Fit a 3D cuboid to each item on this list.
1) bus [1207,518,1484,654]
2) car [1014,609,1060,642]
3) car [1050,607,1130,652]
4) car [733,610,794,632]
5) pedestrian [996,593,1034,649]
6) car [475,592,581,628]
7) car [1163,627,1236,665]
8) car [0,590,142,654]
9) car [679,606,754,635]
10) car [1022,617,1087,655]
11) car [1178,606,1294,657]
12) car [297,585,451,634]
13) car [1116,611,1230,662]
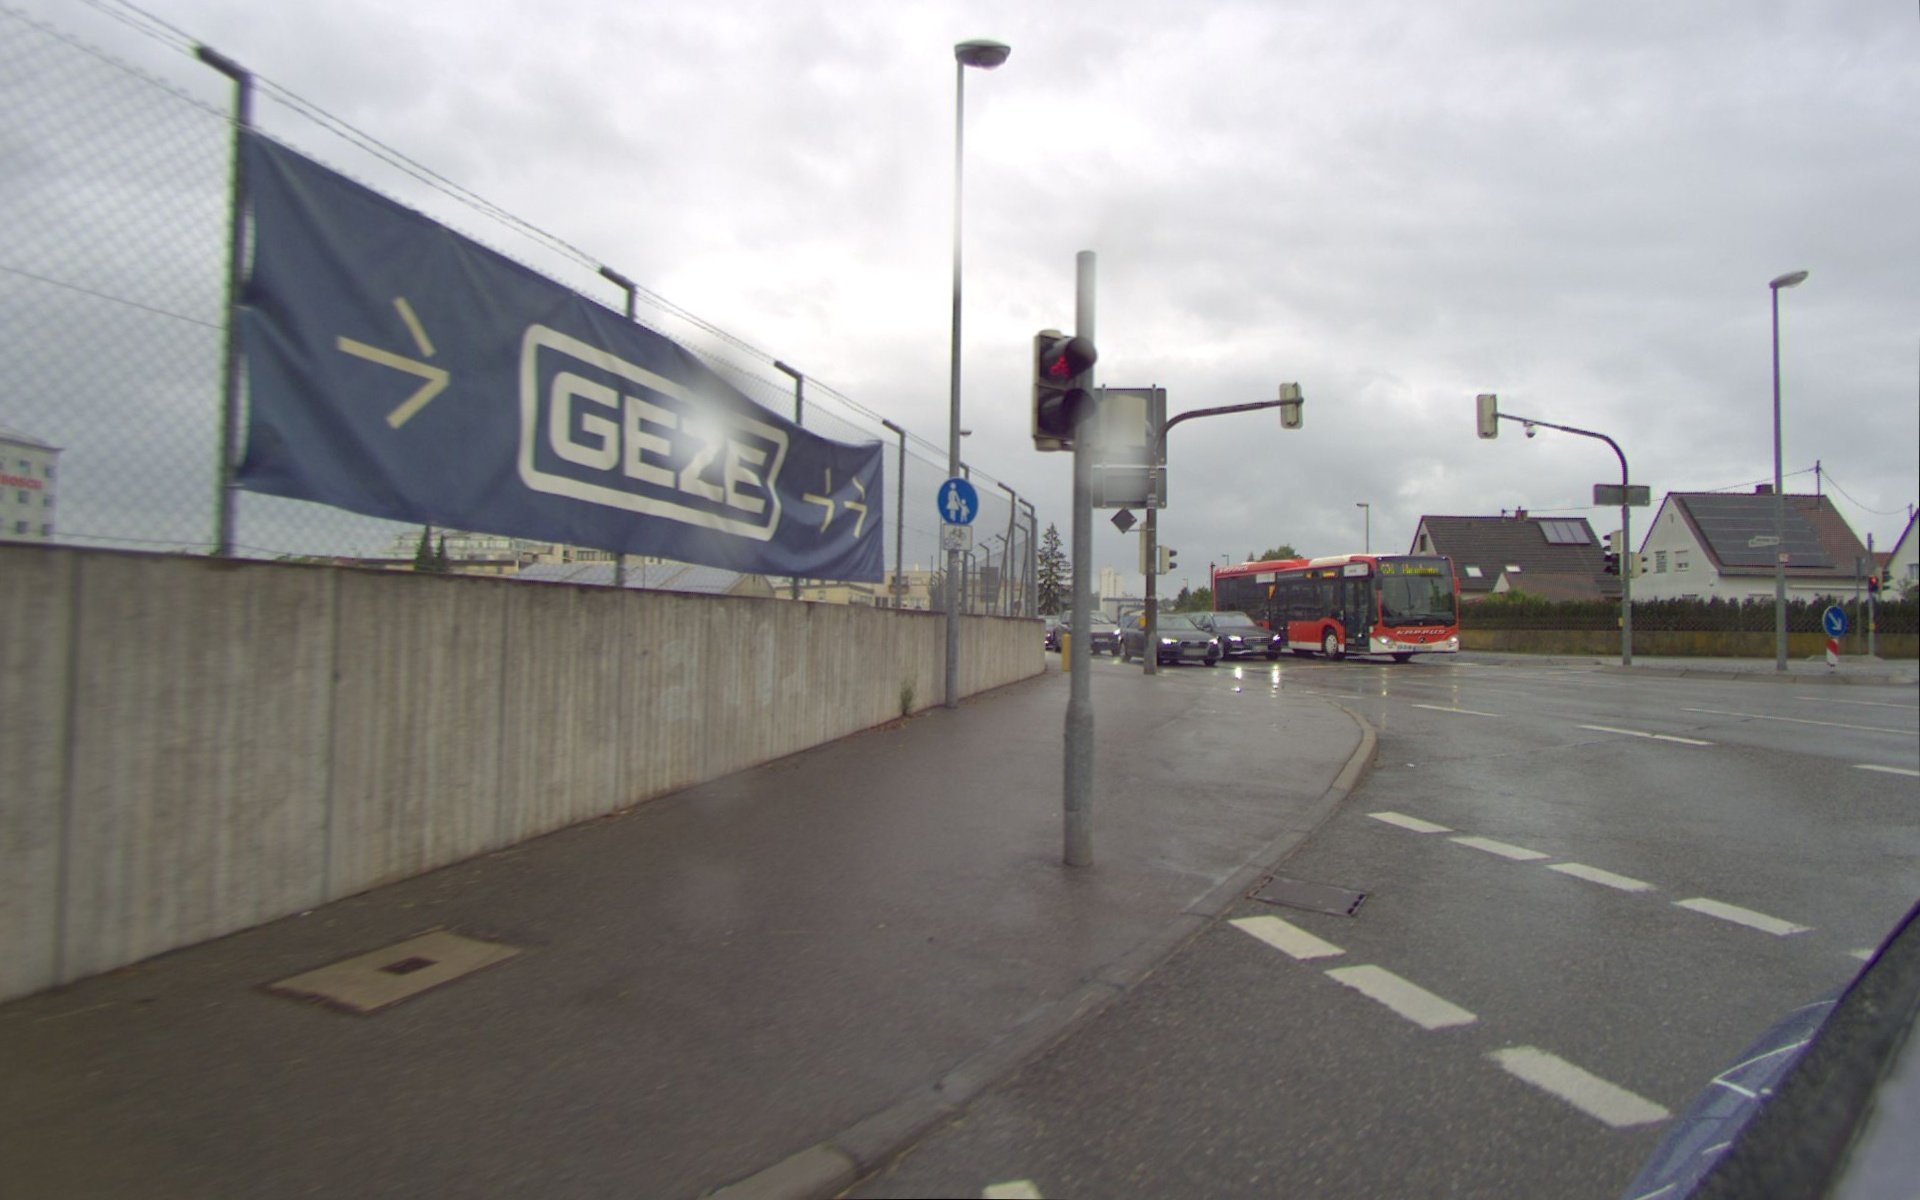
[{"bbox_3d":[11.815,-0.156,33.187,2.926,3.623,12.302,0,-2,-7],"label":"bus"},{"bbox_3d":[3.811,1.260,50.612,1.835,1.527,3.982,0,0,-2],"label":"car"},{"bbox_3d":[4.673,1.032,36.977,1.788,1.558,4.399,0,-1,-8],"label":"car"},{"bbox_3d":[-14.234,1.489,73.562,3.934,1.563,1.995,0,-1,9],"label":"car"},{"bbox_3d":[1.634,0.625,30.347,0.852,1.631,0.874,4,-1,-11],"label":"pedestrian"},{"bbox_3d":[-19.719,0.435,46.315,4.105,1.579,1.713,0,0,-5],"label":"car"},{"bbox_3d":[10.570,1.995,44.913,1.815,1.517,4.005,0,0,-7],"label":"car"},{"bbox_3d":[-29.931,0.713,33.817,3.748,2.039,1.749,0,0,-3],"label":"car"},{"bbox_3d":[-14.124,1.182,58.797,3.828,1.686,1.930,0,-1,4],"label":"car"},{"bbox_3d":[4.005,1.506,43.695,1.788,1.558,4.399,0,-1,-8],"label":"car"},{"bbox_3d":[8.649,0.960,32.130,1.863,1.486,4.598,0,-1,-8],"label":"car"},{"bbox_3d":[-19.423,0.306,33.689,4.105,1.579,1.713,0,0,-5],"label":"car"},{"bbox_3d":[6.002,0.995,29.047,1.788,1.372,4.399,0,-1,-8],"label":"car"}]
